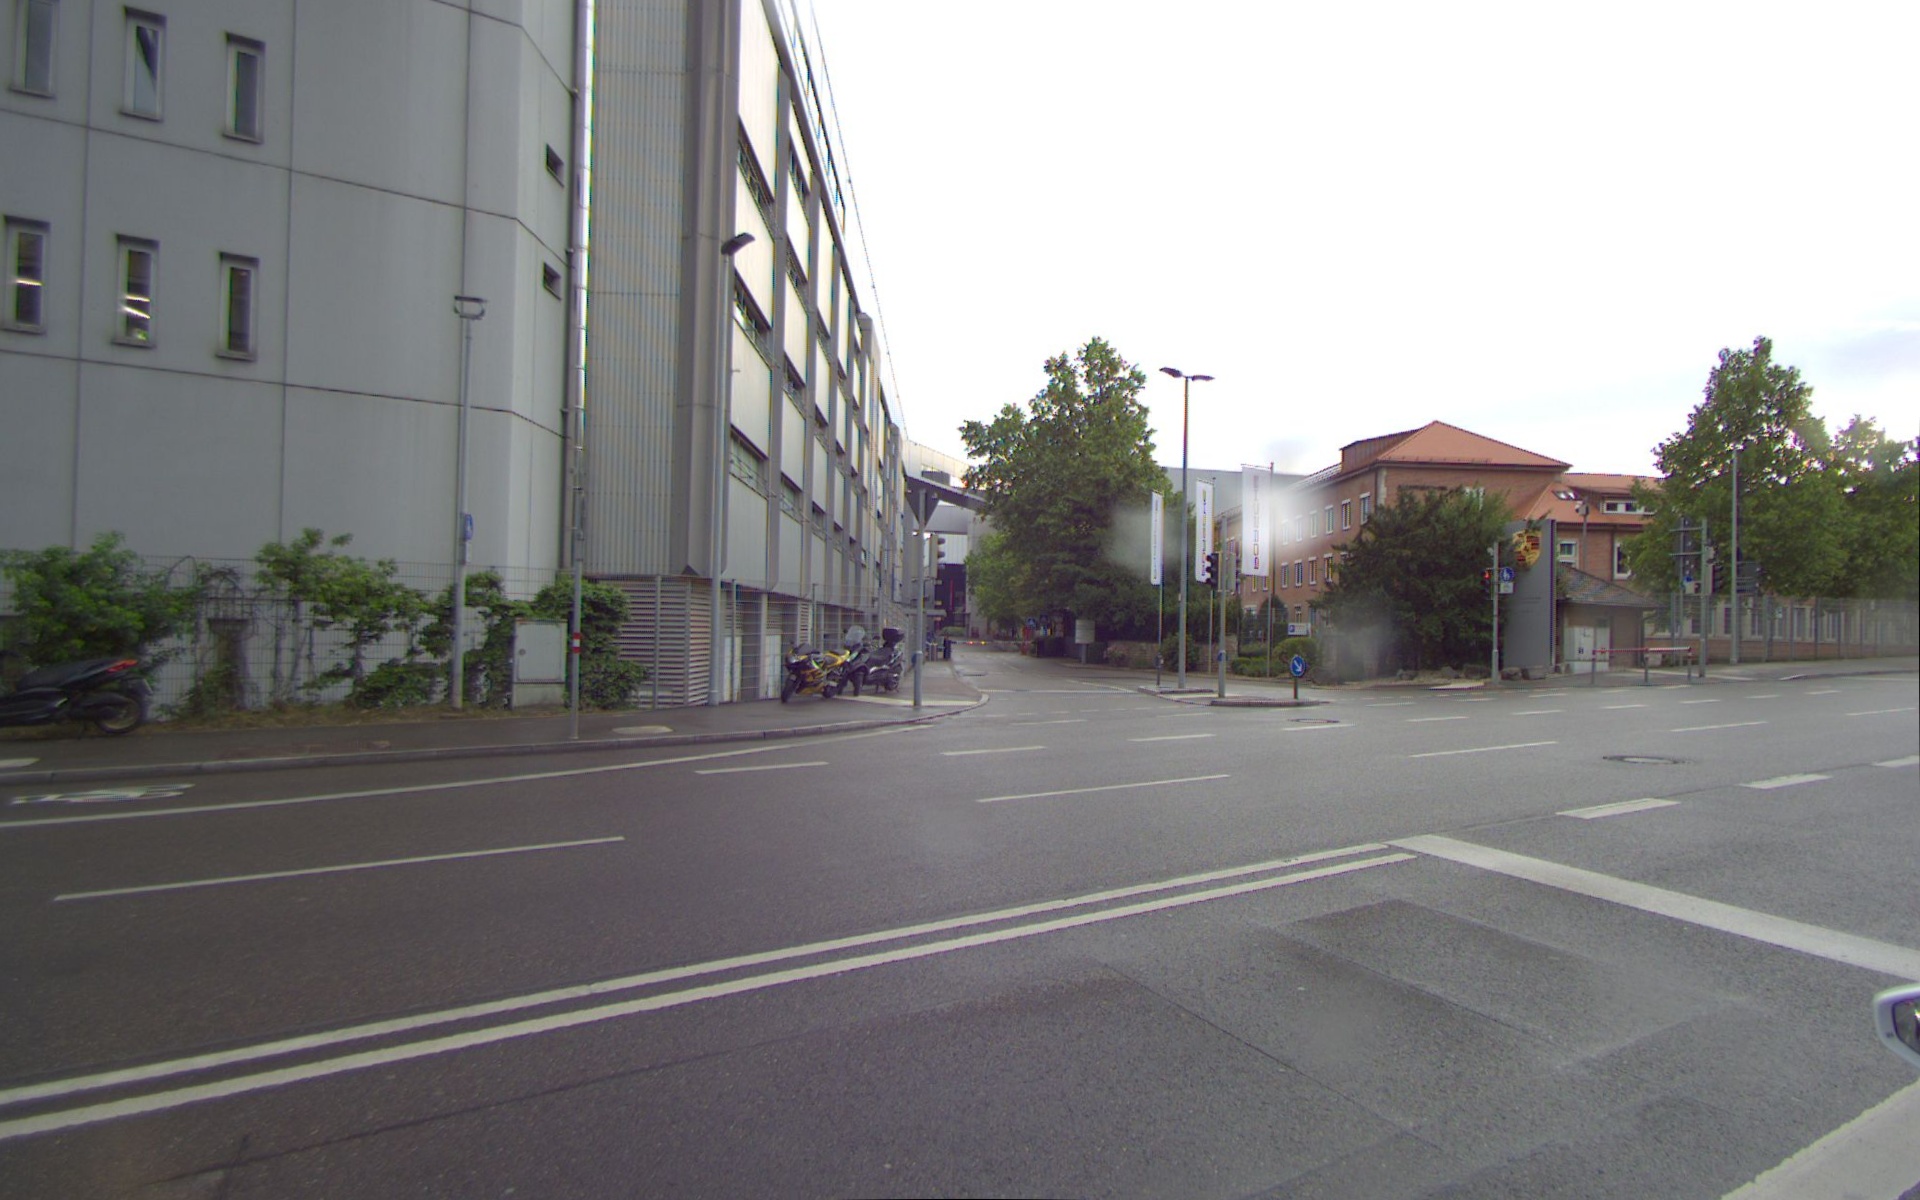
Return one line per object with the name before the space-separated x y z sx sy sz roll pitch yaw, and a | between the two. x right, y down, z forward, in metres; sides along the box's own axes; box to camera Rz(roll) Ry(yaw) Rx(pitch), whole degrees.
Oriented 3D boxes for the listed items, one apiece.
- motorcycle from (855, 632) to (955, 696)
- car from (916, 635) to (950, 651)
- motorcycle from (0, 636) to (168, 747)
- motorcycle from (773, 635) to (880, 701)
motorcycle | -1.203 1.412 22.769 1.008 1.355 2.772 -1 -2 27
car | -3.566 5.623 131.277 3.913 1.849 1.955 2 0 -31
motorcycle | -10.951 1.071 12.070 2.133 1.263 0.780 1 -1 -32
motorcycle | -2.656 1.333 20.332 0.759 1.234 2.504 0 -1 30
